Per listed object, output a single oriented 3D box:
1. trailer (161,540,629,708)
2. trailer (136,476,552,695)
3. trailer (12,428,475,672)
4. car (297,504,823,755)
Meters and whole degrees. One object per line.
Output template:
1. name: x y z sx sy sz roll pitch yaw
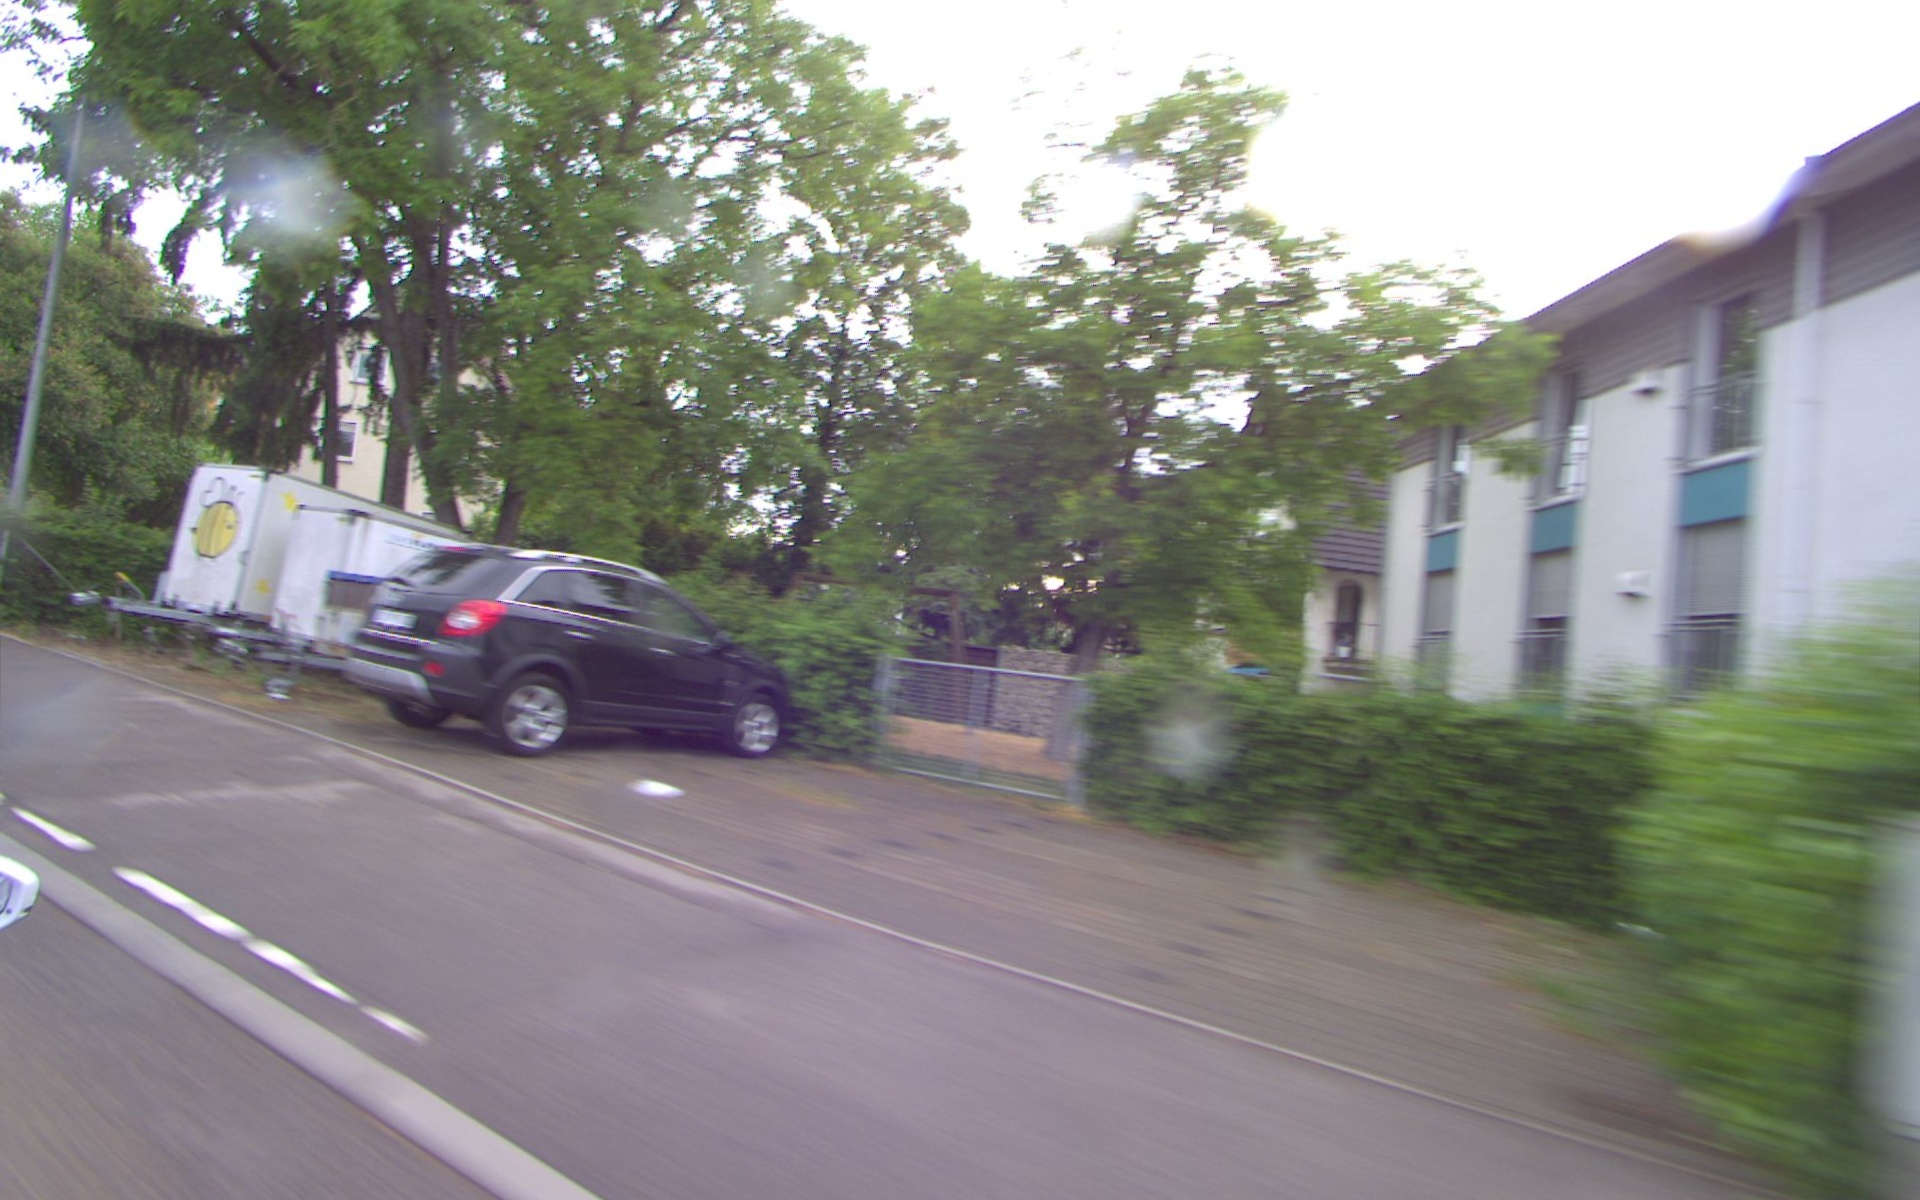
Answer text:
1. trailer: -6.142 0.399 11.561 1.545 1.302 4.409 8 -3 31
2. trailer: -7.547 -0.054 12.768 1.658 2.042 3.966 7 -4 31
3. trailer: -9.394 -0.480 13.740 1.914 2.425 4.555 7 -4 24
4. car: -3.552 0.428 9.765 1.952 1.769 4.223 8 -3 33
